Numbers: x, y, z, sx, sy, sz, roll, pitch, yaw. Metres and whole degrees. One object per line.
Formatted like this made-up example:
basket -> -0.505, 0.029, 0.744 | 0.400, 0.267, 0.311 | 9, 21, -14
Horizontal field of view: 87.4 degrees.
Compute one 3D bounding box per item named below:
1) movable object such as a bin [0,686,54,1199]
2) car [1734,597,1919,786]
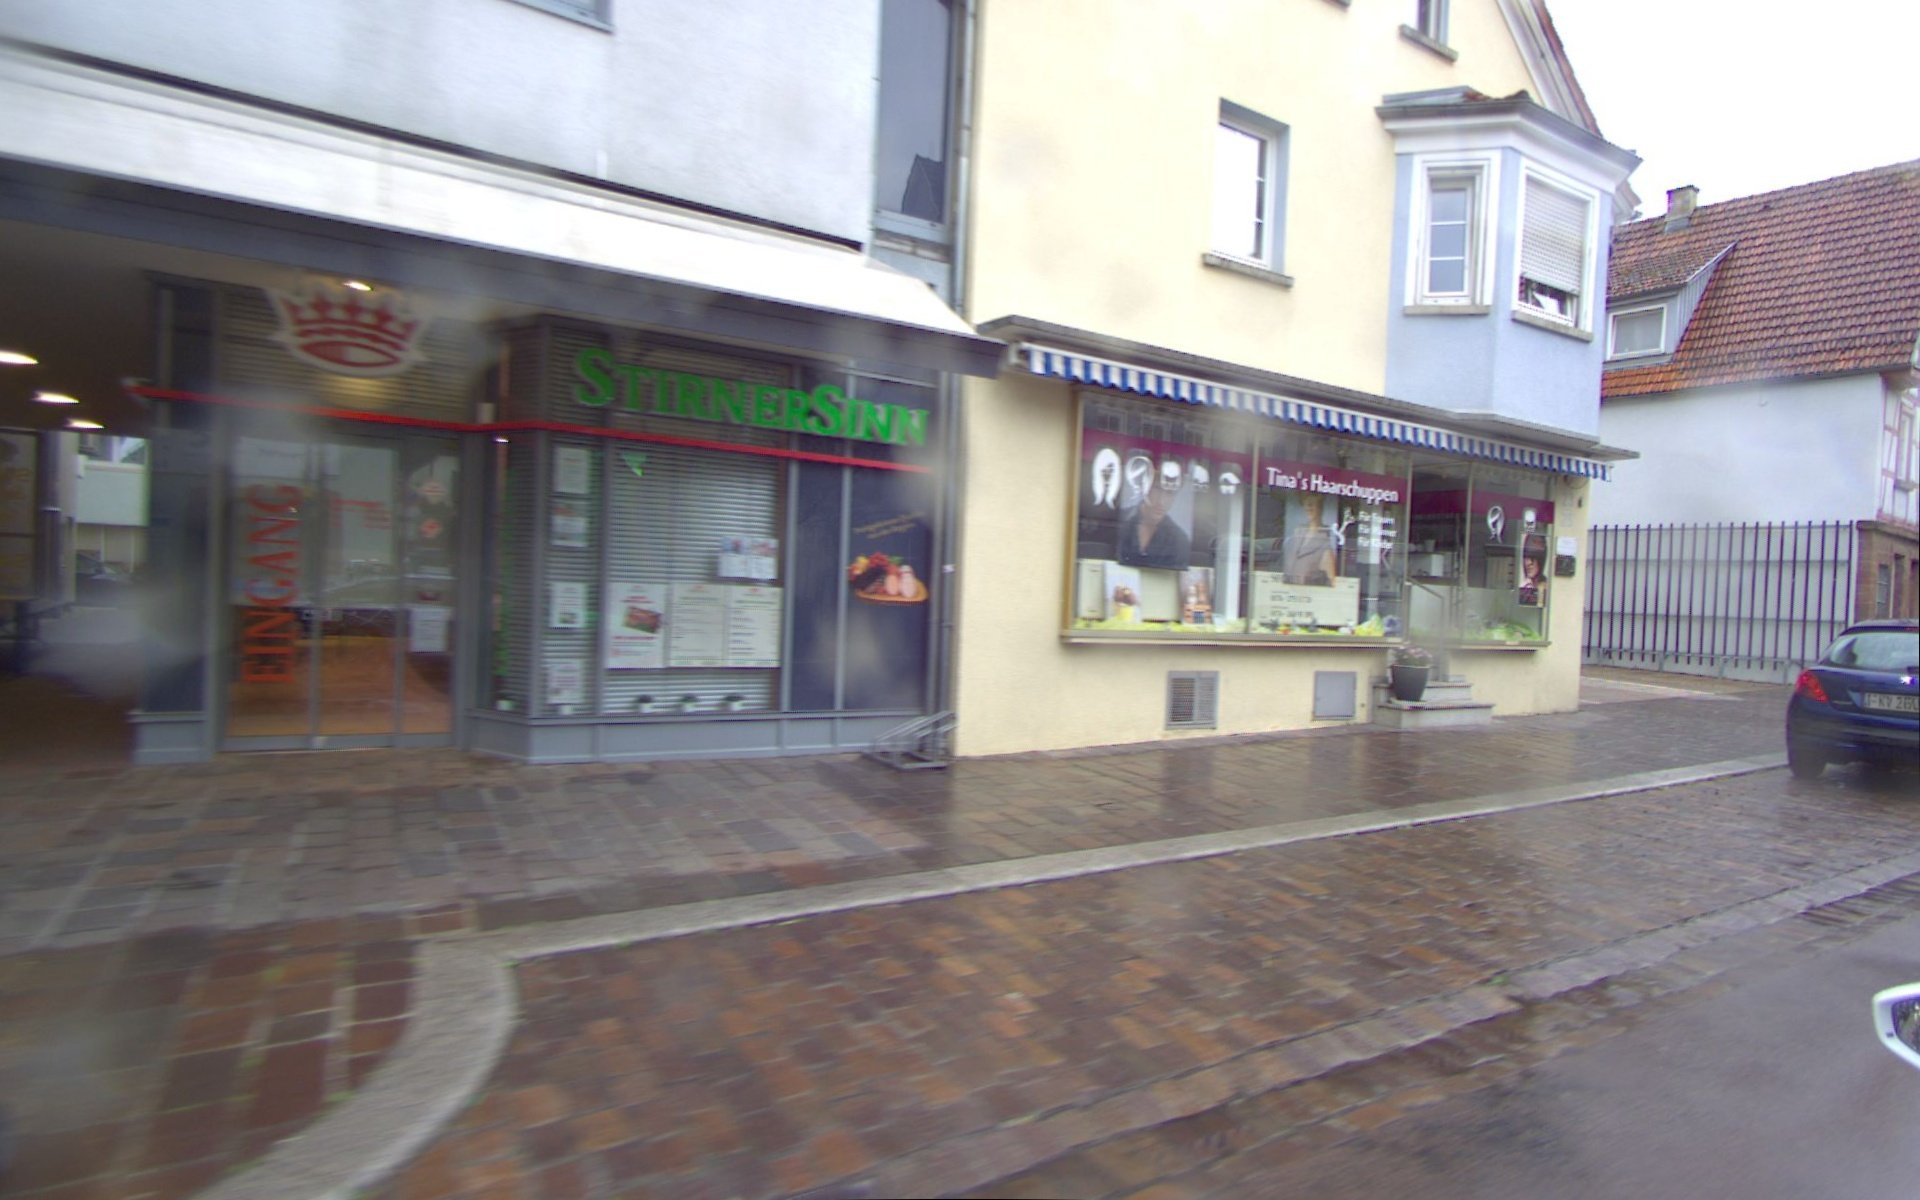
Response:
movable object such as a bin -> -2.268, 0.790, 1.966 | 0.604, 1.121, 0.809 | 2, 3, -35
car -> 9.289, 0.796, 9.557 | 3.961, 1.491, 1.980 | 1, 2, -36
